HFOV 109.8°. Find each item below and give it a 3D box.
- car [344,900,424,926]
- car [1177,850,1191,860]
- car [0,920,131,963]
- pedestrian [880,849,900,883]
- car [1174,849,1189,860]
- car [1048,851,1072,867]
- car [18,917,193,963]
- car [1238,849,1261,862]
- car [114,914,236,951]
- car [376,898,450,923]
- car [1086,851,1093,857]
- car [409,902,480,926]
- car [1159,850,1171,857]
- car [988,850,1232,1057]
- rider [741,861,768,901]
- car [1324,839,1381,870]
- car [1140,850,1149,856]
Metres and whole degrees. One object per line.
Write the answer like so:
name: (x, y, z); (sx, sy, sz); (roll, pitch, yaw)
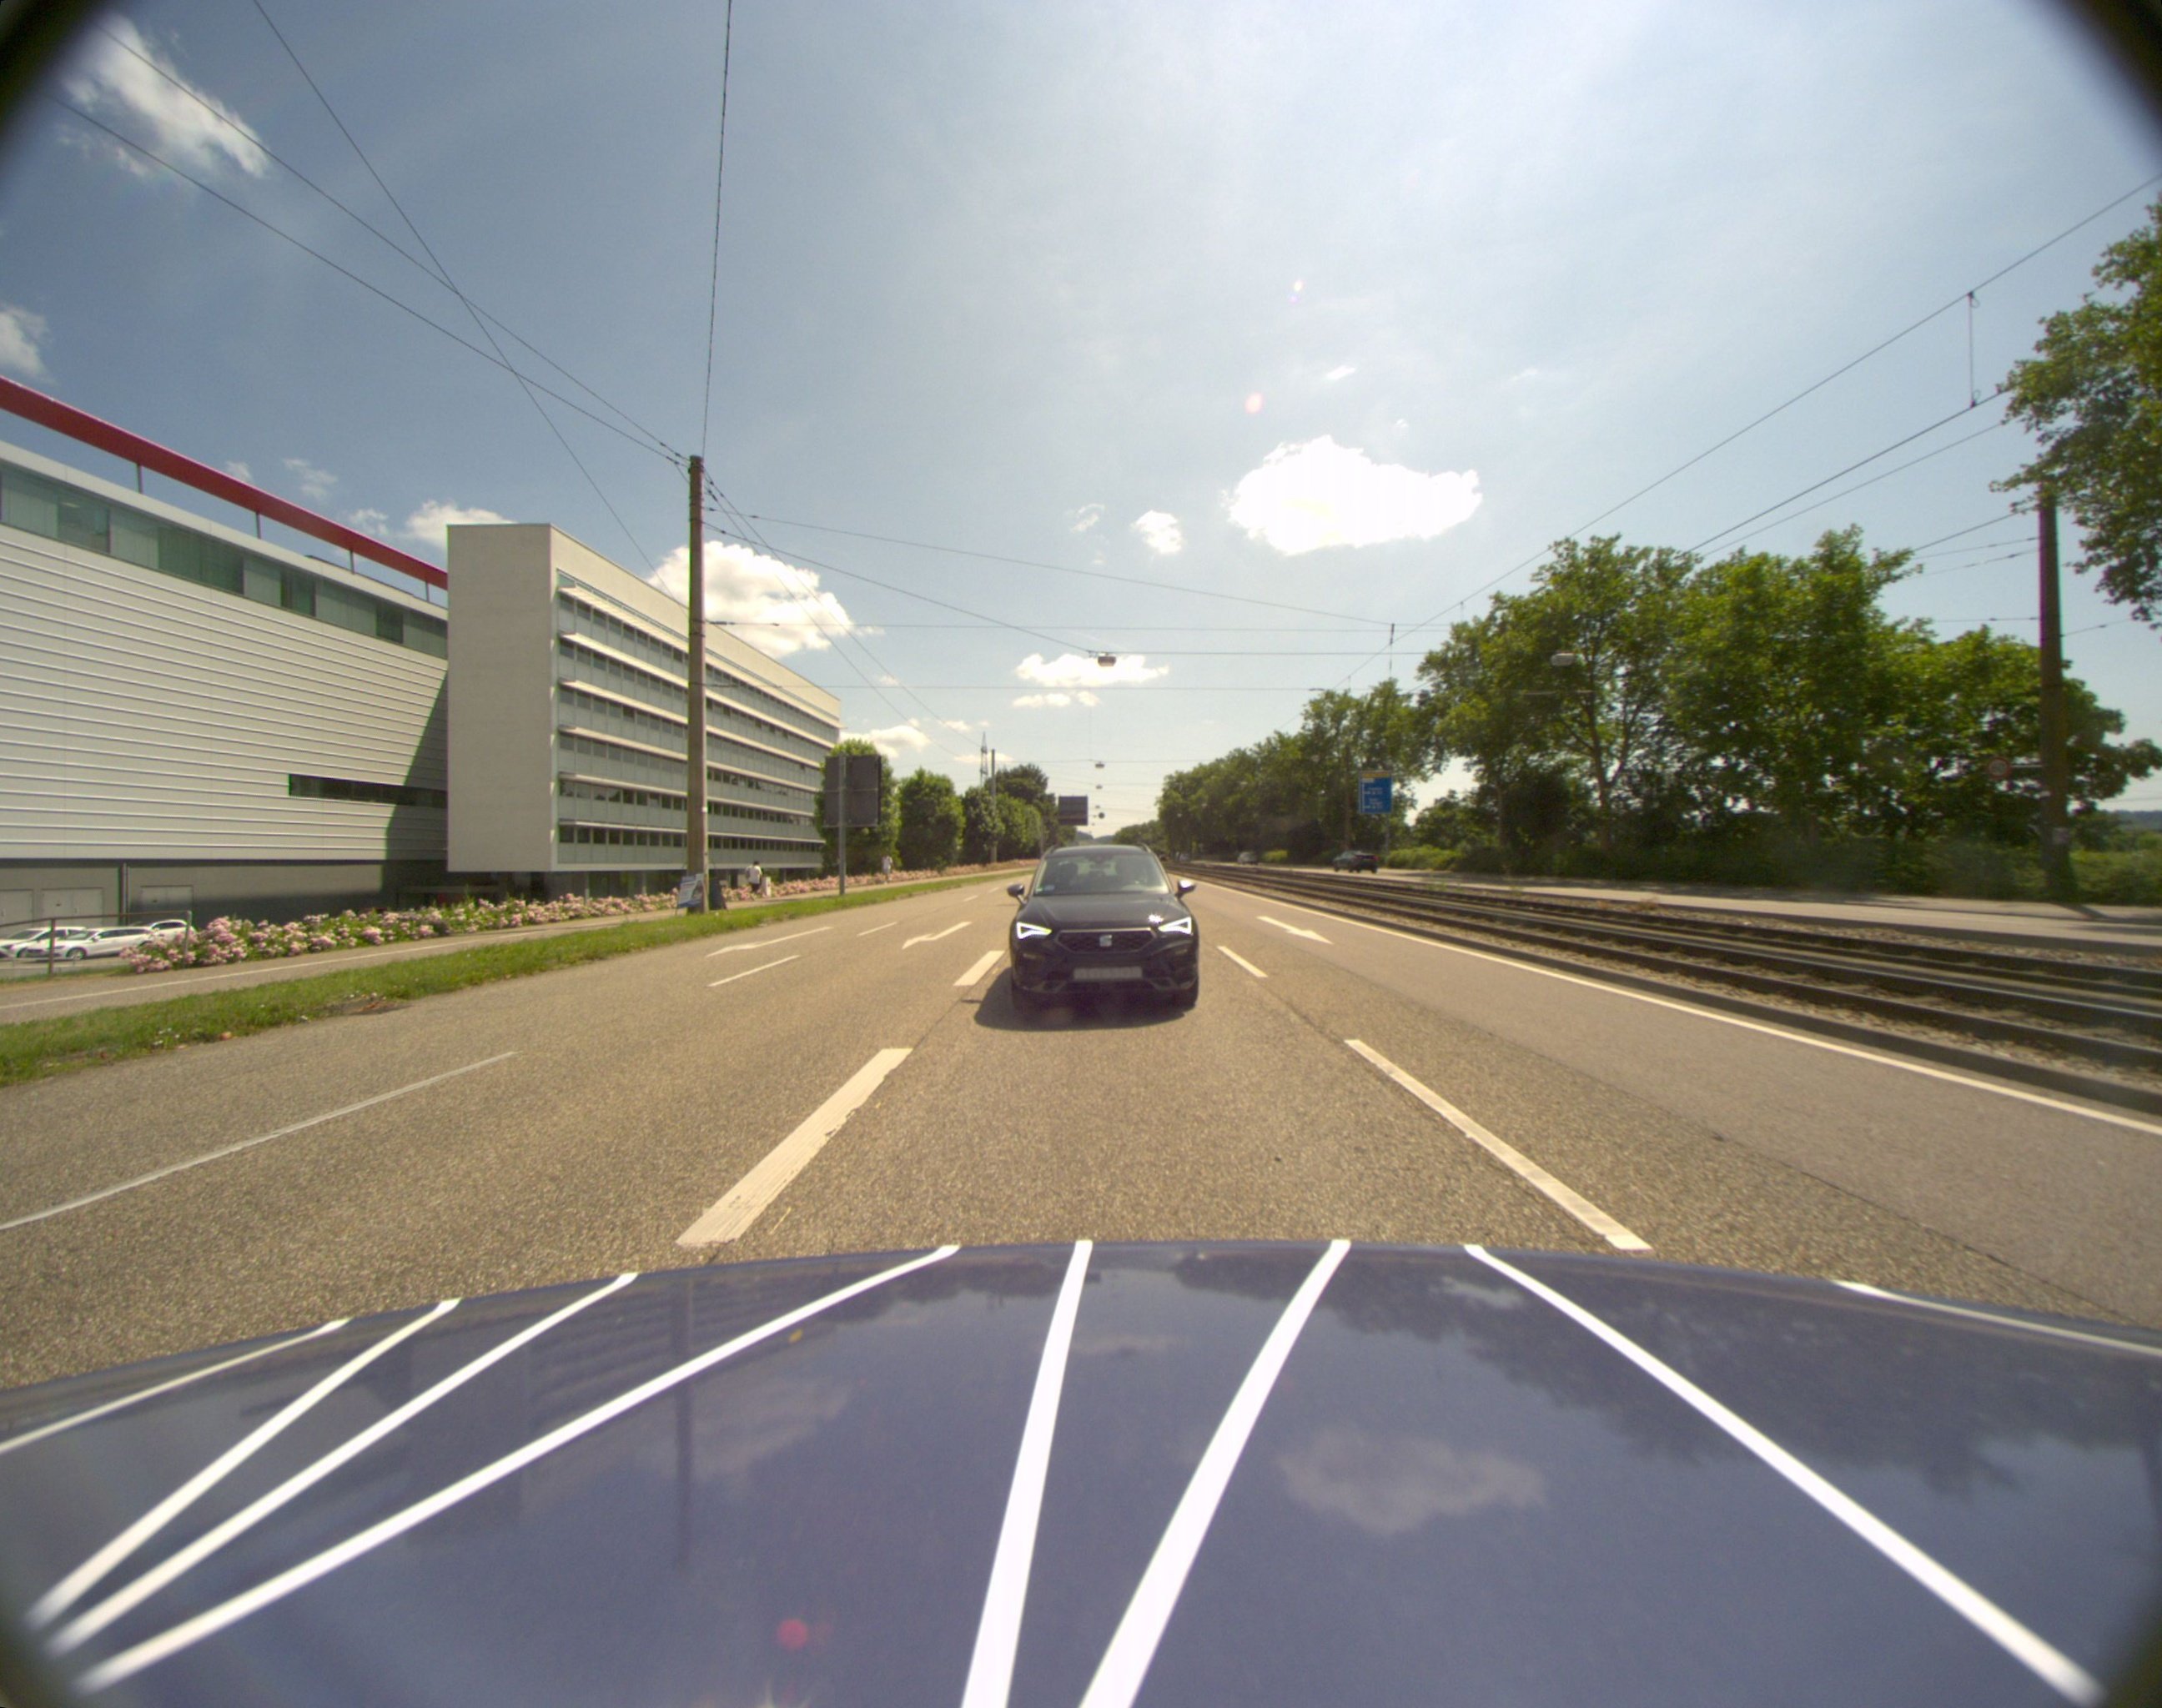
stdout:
car: (-50.219, 4.246, 54.850); (1.998, 1.439, 3.999); (-2, 1, 1)
car: (17.369, 0.177, 127.914); (1.690, 1.574, 4.058); (2, 0, -1)
car: (-50.878, 4.330, 37.841); (1.998, 1.603, 3.999); (-2, 1, 1)
pedestrian: (-10.533, 0.629, 41.976); (0.758, 1.838, 0.931); (-2, 1, 3)
car: (18.712, 0.079, 141.776); (1.999, 1.820, 4.968); (1, 0, -1)
car: (-1.908, 0.472, 69.803); (1.896, 1.331, 4.000); (-2, 0, 1)
car: (-48.469, 4.237, 37.973); (1.998, 1.603, 5.146); (-2, 1, 1)
car: (19.072, 0.195, 86.073); (1.827, 1.407, 3.883); (1, 0, 1)
car: (-50.996, 4.383, 42.882); (1.998, 1.603, 3.999); (-2, 1, 1)
car: (-47.970, 4.026, 54.663); (1.648, 1.377, 3.999); (-2, 1, 1)
car: (2.620, -0.090, 232.312); (1.998, 1.641, 4.000); (-2, 1, 1)
car: (-45.449, 4.252, 54.375); (1.609, 1.314, 3.999); (-2, 1, 1)
car: (19.280, -0.087, 174.278); (1.999, 1.660, 4.467); (1, 0, -2)
car: (0.261, 0.782, 8.276); (1.898, 1.564, 4.511); (-1, 1, 1)
rider: (-12.144, 1.008, 28.241); (0.671, 1.449, 0.618); (-2, 1, 1)
car: (18.242, 0.033, 51.263); (1.999, 1.907, 4.408); (-2, 1, -4)
car: (18.103, -0.339, 216.583); (1.999, 1.820, 4.968); (1, 0, -1)
